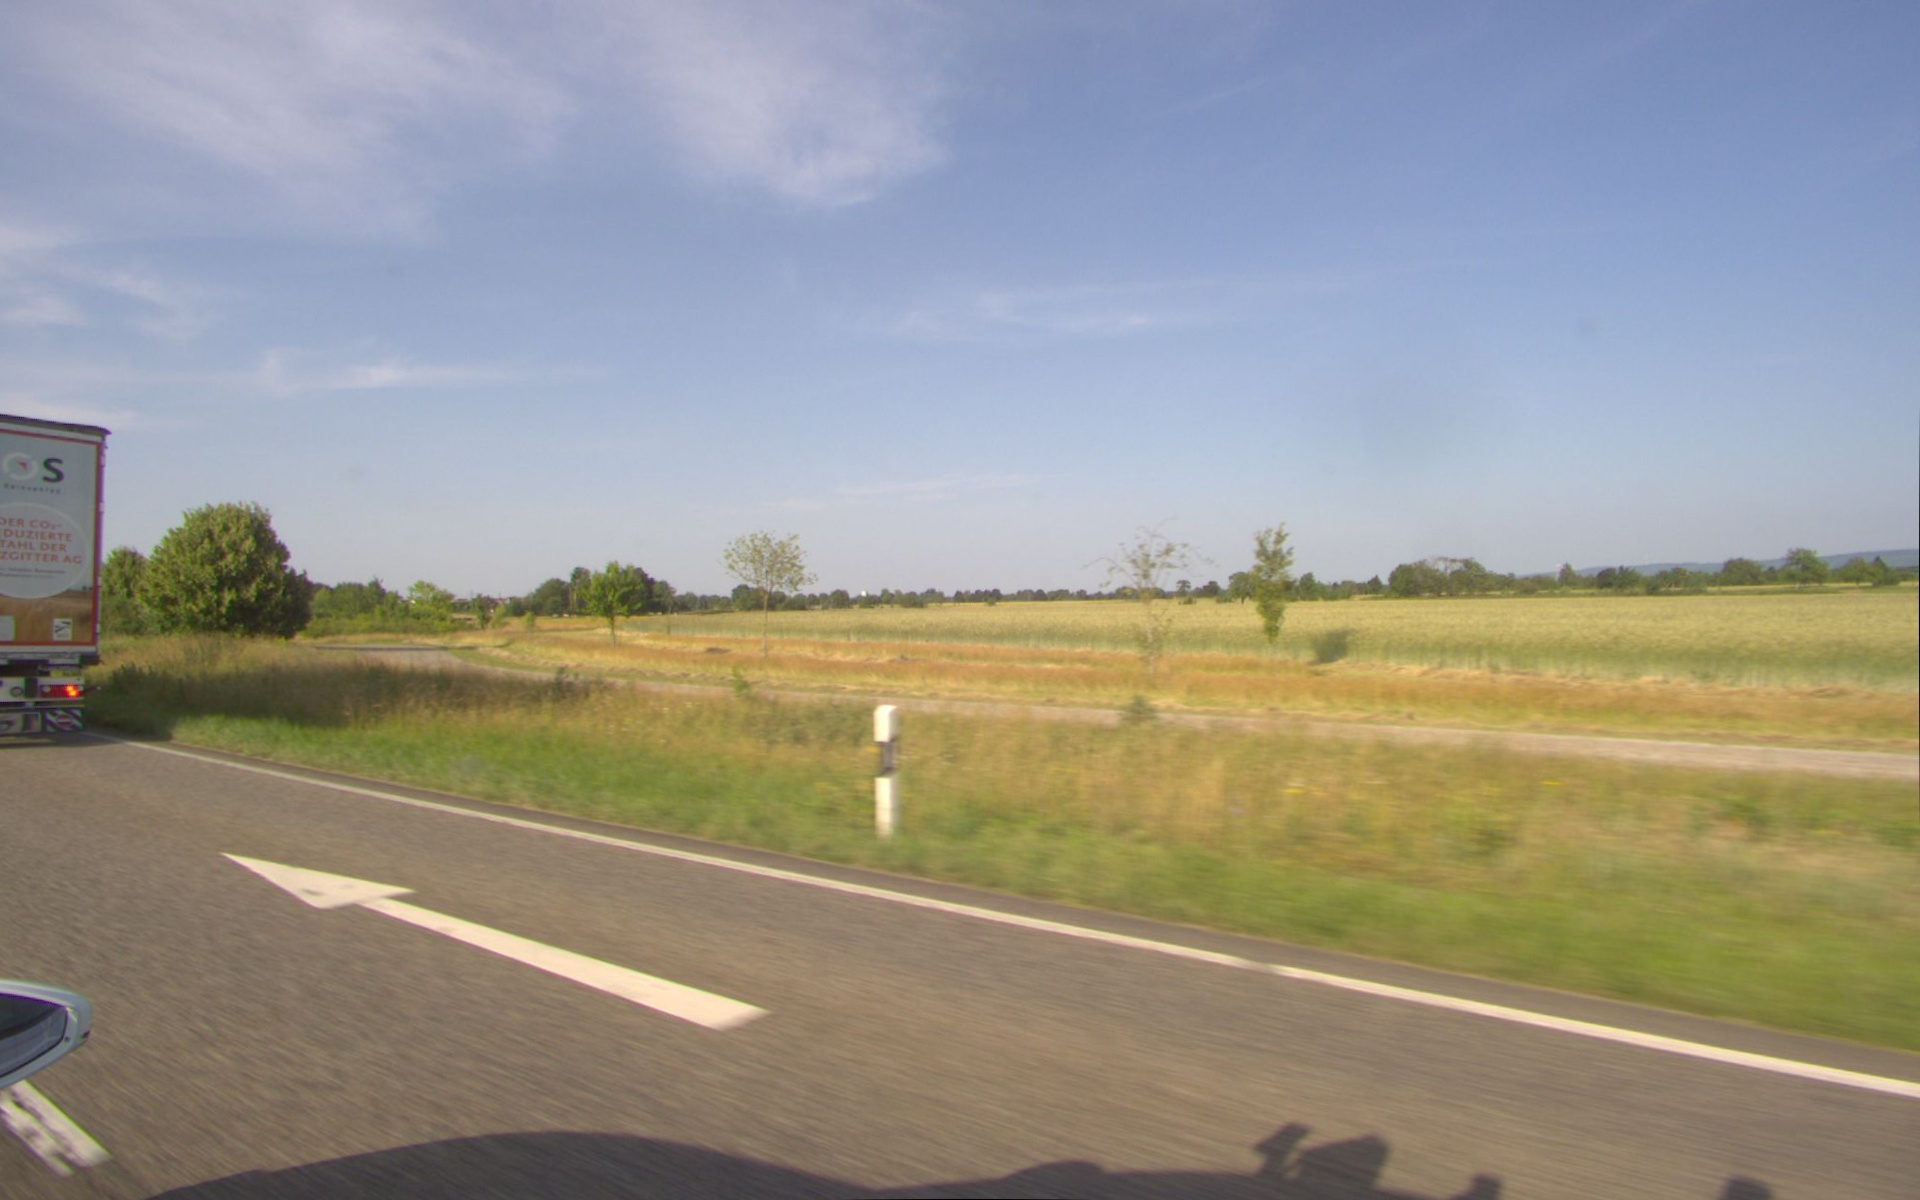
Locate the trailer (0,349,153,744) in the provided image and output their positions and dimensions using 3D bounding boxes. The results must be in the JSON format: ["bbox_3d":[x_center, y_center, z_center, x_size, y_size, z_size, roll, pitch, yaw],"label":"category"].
[{"bbox_3d":[-16.770,-0.581,15.842,12.981,4.741,3.270,-1,-2,38],"label":"trailer"}]
